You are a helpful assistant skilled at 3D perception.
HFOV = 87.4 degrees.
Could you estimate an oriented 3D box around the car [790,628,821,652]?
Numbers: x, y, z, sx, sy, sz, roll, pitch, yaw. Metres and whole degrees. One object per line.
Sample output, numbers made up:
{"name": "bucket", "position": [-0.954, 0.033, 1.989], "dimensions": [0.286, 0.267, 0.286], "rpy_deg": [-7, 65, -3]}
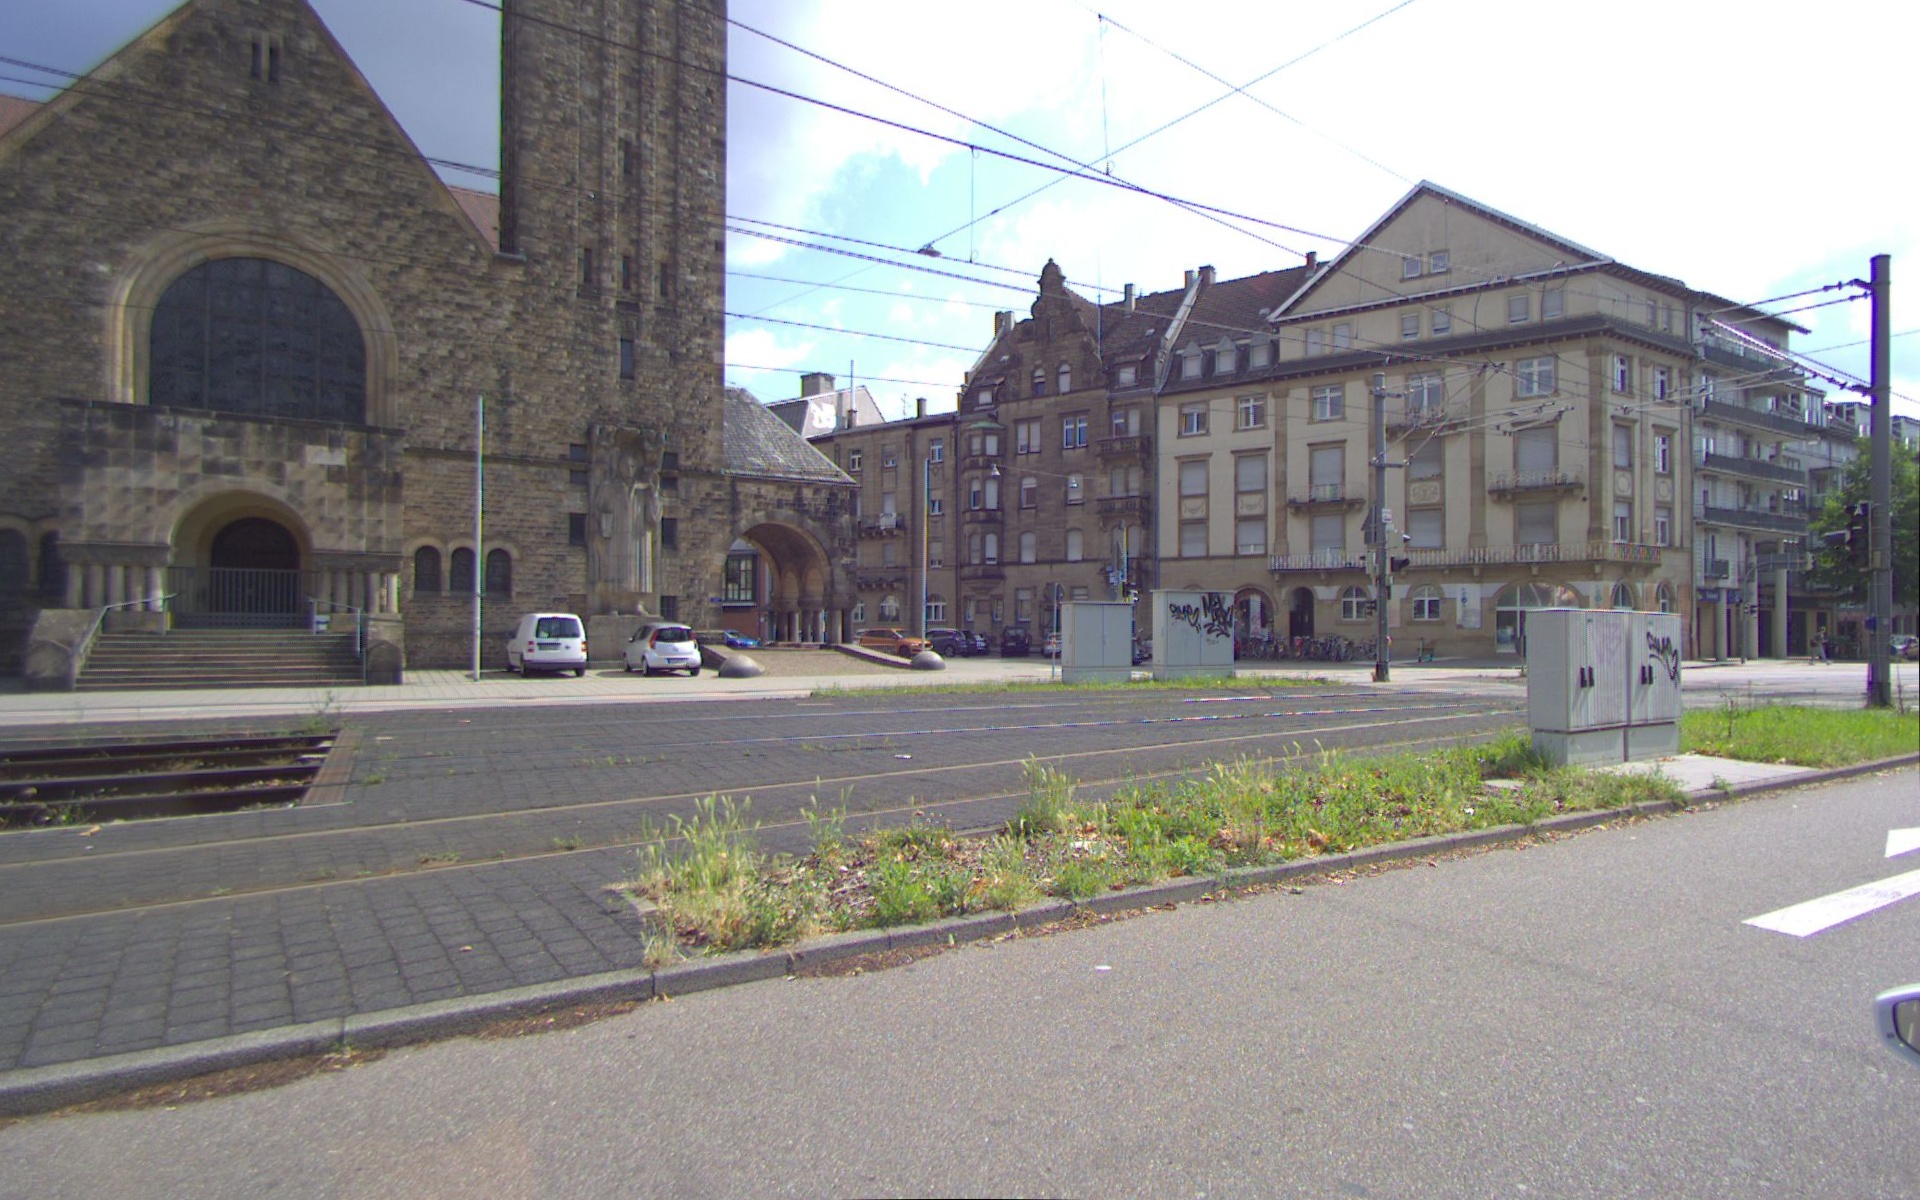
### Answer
{"name": "car", "position": [-10.823, 2.796, 70.656], "dimensions": [1.707, 1.693, 4.038], "rpy_deg": [0, -2, -2]}

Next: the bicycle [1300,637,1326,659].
{"name": "bicycle", "position": [18.116, 2.440, 51.541], "dimensions": [0.792, 1.067, 2.561], "rpy_deg": [-1, -2, 31]}

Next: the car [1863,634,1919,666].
{"name": "car", "position": [62.093, 3.306, 66.773], "dimensions": [3.953, 2.040, 1.984], "rpy_deg": [1, -2, -30]}

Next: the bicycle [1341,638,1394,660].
{"name": "bicycle", "position": [20.303, 2.444, 50.004], "dimensions": [2.525, 1.067, 0.803], "rpy_deg": [1, -2, -18]}

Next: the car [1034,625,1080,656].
{"name": "car", "position": [5.677, 2.383, 59.140], "dimensions": [1.962, 1.758, 3.998], "rpy_deg": [0, -2, -5]}

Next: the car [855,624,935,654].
{"name": "car", "position": [-3.478, 2.057, 53.432], "dimensions": [4.258, 1.566, 1.625], "rpy_deg": [-1, -2, 37]}

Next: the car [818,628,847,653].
{"name": "car", "position": [-8.841, 2.779, 69.721], "dimensions": [1.653, 1.697, 4.000], "rpy_deg": [0, -2, -2]}

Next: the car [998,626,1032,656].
{"name": "car", "position": [3.304, 2.472, 60.750], "dimensions": [1.850, 1.782, 4.001], "rpy_deg": [0, -2, 0]}

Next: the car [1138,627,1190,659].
{"name": "car", "position": [11.204, 2.343, 55.470], "dimensions": [1.768, 1.661, 3.998], "rpy_deg": [0, -2, -5]}

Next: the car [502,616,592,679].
{"name": "car", "position": [-12.465, 1.397, 30.209], "dimensions": [1.874, 1.771, 3.848], "rpy_deg": [1, -2, -32]}

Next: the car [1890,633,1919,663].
{"name": "car", "position": [66.129, 3.261, 69.140], "dimensions": [3.953, 2.040, 1.984], "rpy_deg": [1, -2, -30]}

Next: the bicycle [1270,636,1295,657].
{"name": "bicycle", "position": [16.971, 2.440, 52.807], "dimensions": [0.729, 1.067, 2.360], "rpy_deg": [-1, -2, 31]}

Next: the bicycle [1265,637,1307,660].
{"name": "bicycle", "position": [16.182, 2.387, 49.821], "dimensions": [1.939, 1.129, 0.487], "rpy_deg": [-1, -2, 24]}

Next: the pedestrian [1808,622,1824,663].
{"name": "pedestrian", "position": [42.669, 2.123, 50.059], "dimensions": [0.415, 2.040, 0.474], "rpy_deg": [1, -2, -35]}

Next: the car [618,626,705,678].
{"name": "car", "position": [-9.303, 1.582, 31.191], "dimensions": [1.833, 1.522, 3.249], "rpy_deg": [1, -2, -31]}

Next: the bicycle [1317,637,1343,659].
{"name": "bicycle", "position": [18.832, 2.444, 51.089], "dimensions": [0.792, 1.067, 2.561], "rpy_deg": [-1, -2, 31]}

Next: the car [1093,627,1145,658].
{"name": "car", "position": [8.914, 2.370, 56.667], "dimensions": [1.962, 1.695, 3.998], "rpy_deg": [0, -2, -5]}

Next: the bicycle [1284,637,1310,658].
{"name": "bicycle", "position": [17.452, 2.436, 52.011], "dimensions": [0.729, 1.067, 2.561], "rpy_deg": [-1, -2, 31]}

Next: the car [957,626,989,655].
{"name": "car", "position": [0.807, 2.512, 62.613], "dimensions": [1.960, 1.760, 4.001], "rpy_deg": [0, -2, 0]}

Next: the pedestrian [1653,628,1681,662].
{"name": "pedestrian", "position": [34.367, 2.172, 48.835], "dimensions": [0.846, 1.617, 0.693], "rpy_deg": [0, -1, -7]}

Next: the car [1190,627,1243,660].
{"name": "car", "position": [13.568, 2.278, 53.415], "dimensions": [1.960, 1.696, 4.002], "rpy_deg": [0, -2, 3]}

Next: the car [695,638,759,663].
{"name": "car", "position": [-14.193, 3.079, 61.189], "dimensions": [3.933, 1.449, 1.532], "rpy_deg": [-1, -2, 34]}

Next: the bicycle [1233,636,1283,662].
{"name": "bicycle", "position": [15.465, 2.540, 52.182], "dimensions": [0.982, 1.270, 3.313], "rpy_deg": [0, -2, -13]}

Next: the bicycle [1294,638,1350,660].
{"name": "bicycle", "position": [17.878, 2.411, 49.650], "dimensions": [2.522, 1.067, 0.680], "rpy_deg": [-1, -2, 33]}

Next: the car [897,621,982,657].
{"name": "car", "position": [-1.211, 2.259, 58.431], "dimensions": [4.727, 2.040, 1.994], "rpy_deg": [-1, -2, 35]}

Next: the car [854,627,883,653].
{"name": "car", "position": [-6.104, 2.692, 67.430], "dimensions": [1.686, 1.706, 4.000], "rpy_deg": [0, -2, -2]}

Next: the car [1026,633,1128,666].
{"name": "car", "position": [5.404, 2.248, 46.623], "dimensions": [4.498, 1.455, 1.700], "rpy_deg": [-1, -2, 37]}
